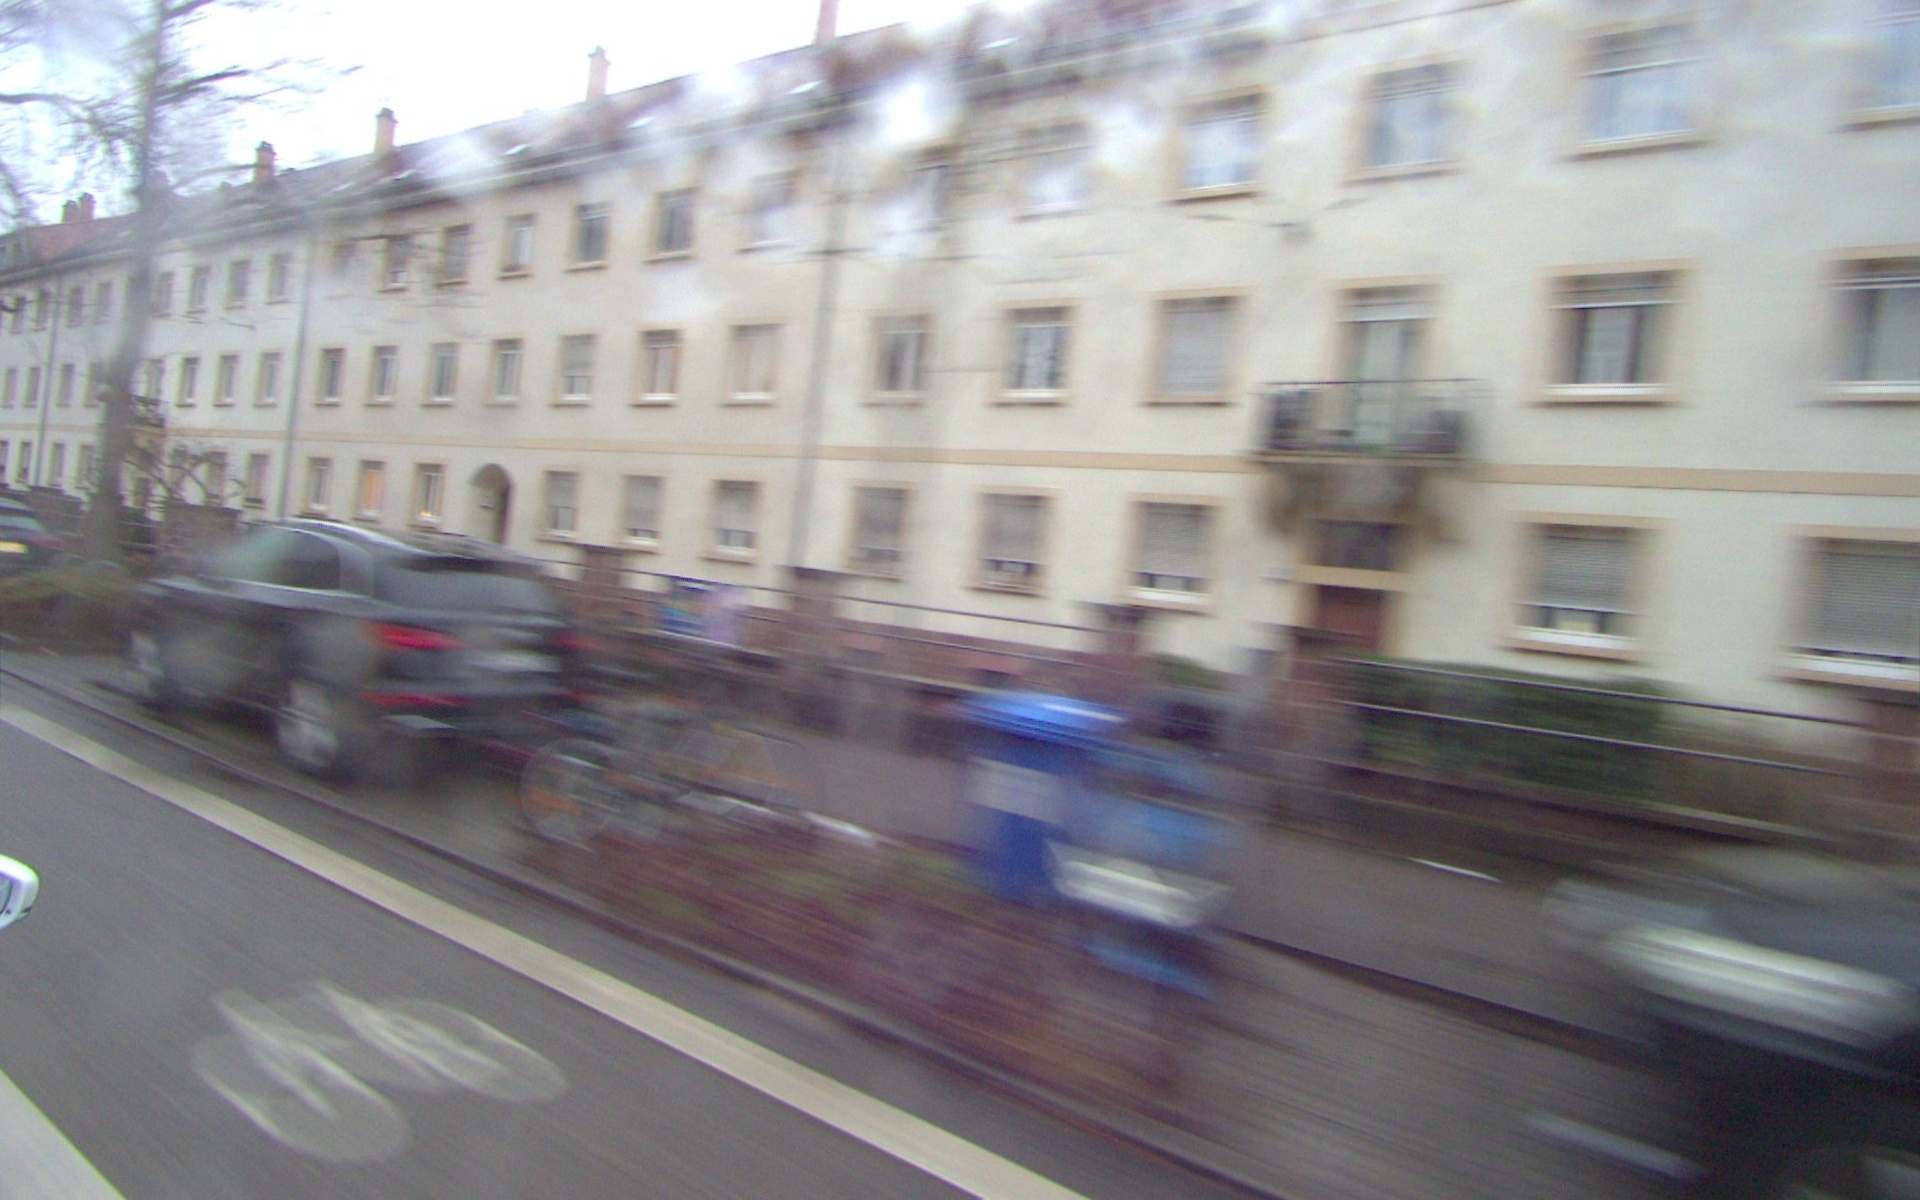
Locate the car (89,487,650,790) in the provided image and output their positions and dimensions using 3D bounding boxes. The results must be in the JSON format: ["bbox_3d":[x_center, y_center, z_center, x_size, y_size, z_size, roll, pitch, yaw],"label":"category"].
[{"bbox_3d":[-4.776,0.170,7.931,4.487,1.629,1.908,7,-1,33],"label":"car"}]

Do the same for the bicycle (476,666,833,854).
[{"bbox_3d":[-1.765,0.891,6.067,2.002,0.929,0.459,3,4,-40],"label":"bicycle"}]

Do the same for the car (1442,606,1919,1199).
[{"bbox_3d":[4.028,1.203,2.490,4.820,1.748,1.909,7,-1,31],"label":"car"}]

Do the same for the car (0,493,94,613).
[{"bbox_3d":[-13.904,-0.815,13.554,4.268,1.438,1.882,7,1,27],"label":"car"}]

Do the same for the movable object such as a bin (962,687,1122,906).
[{"bbox_3d":[0.466,1.030,5.510,0.559,0.968,0.751,7,5,26],"label":"movable object such as a bin"}]
